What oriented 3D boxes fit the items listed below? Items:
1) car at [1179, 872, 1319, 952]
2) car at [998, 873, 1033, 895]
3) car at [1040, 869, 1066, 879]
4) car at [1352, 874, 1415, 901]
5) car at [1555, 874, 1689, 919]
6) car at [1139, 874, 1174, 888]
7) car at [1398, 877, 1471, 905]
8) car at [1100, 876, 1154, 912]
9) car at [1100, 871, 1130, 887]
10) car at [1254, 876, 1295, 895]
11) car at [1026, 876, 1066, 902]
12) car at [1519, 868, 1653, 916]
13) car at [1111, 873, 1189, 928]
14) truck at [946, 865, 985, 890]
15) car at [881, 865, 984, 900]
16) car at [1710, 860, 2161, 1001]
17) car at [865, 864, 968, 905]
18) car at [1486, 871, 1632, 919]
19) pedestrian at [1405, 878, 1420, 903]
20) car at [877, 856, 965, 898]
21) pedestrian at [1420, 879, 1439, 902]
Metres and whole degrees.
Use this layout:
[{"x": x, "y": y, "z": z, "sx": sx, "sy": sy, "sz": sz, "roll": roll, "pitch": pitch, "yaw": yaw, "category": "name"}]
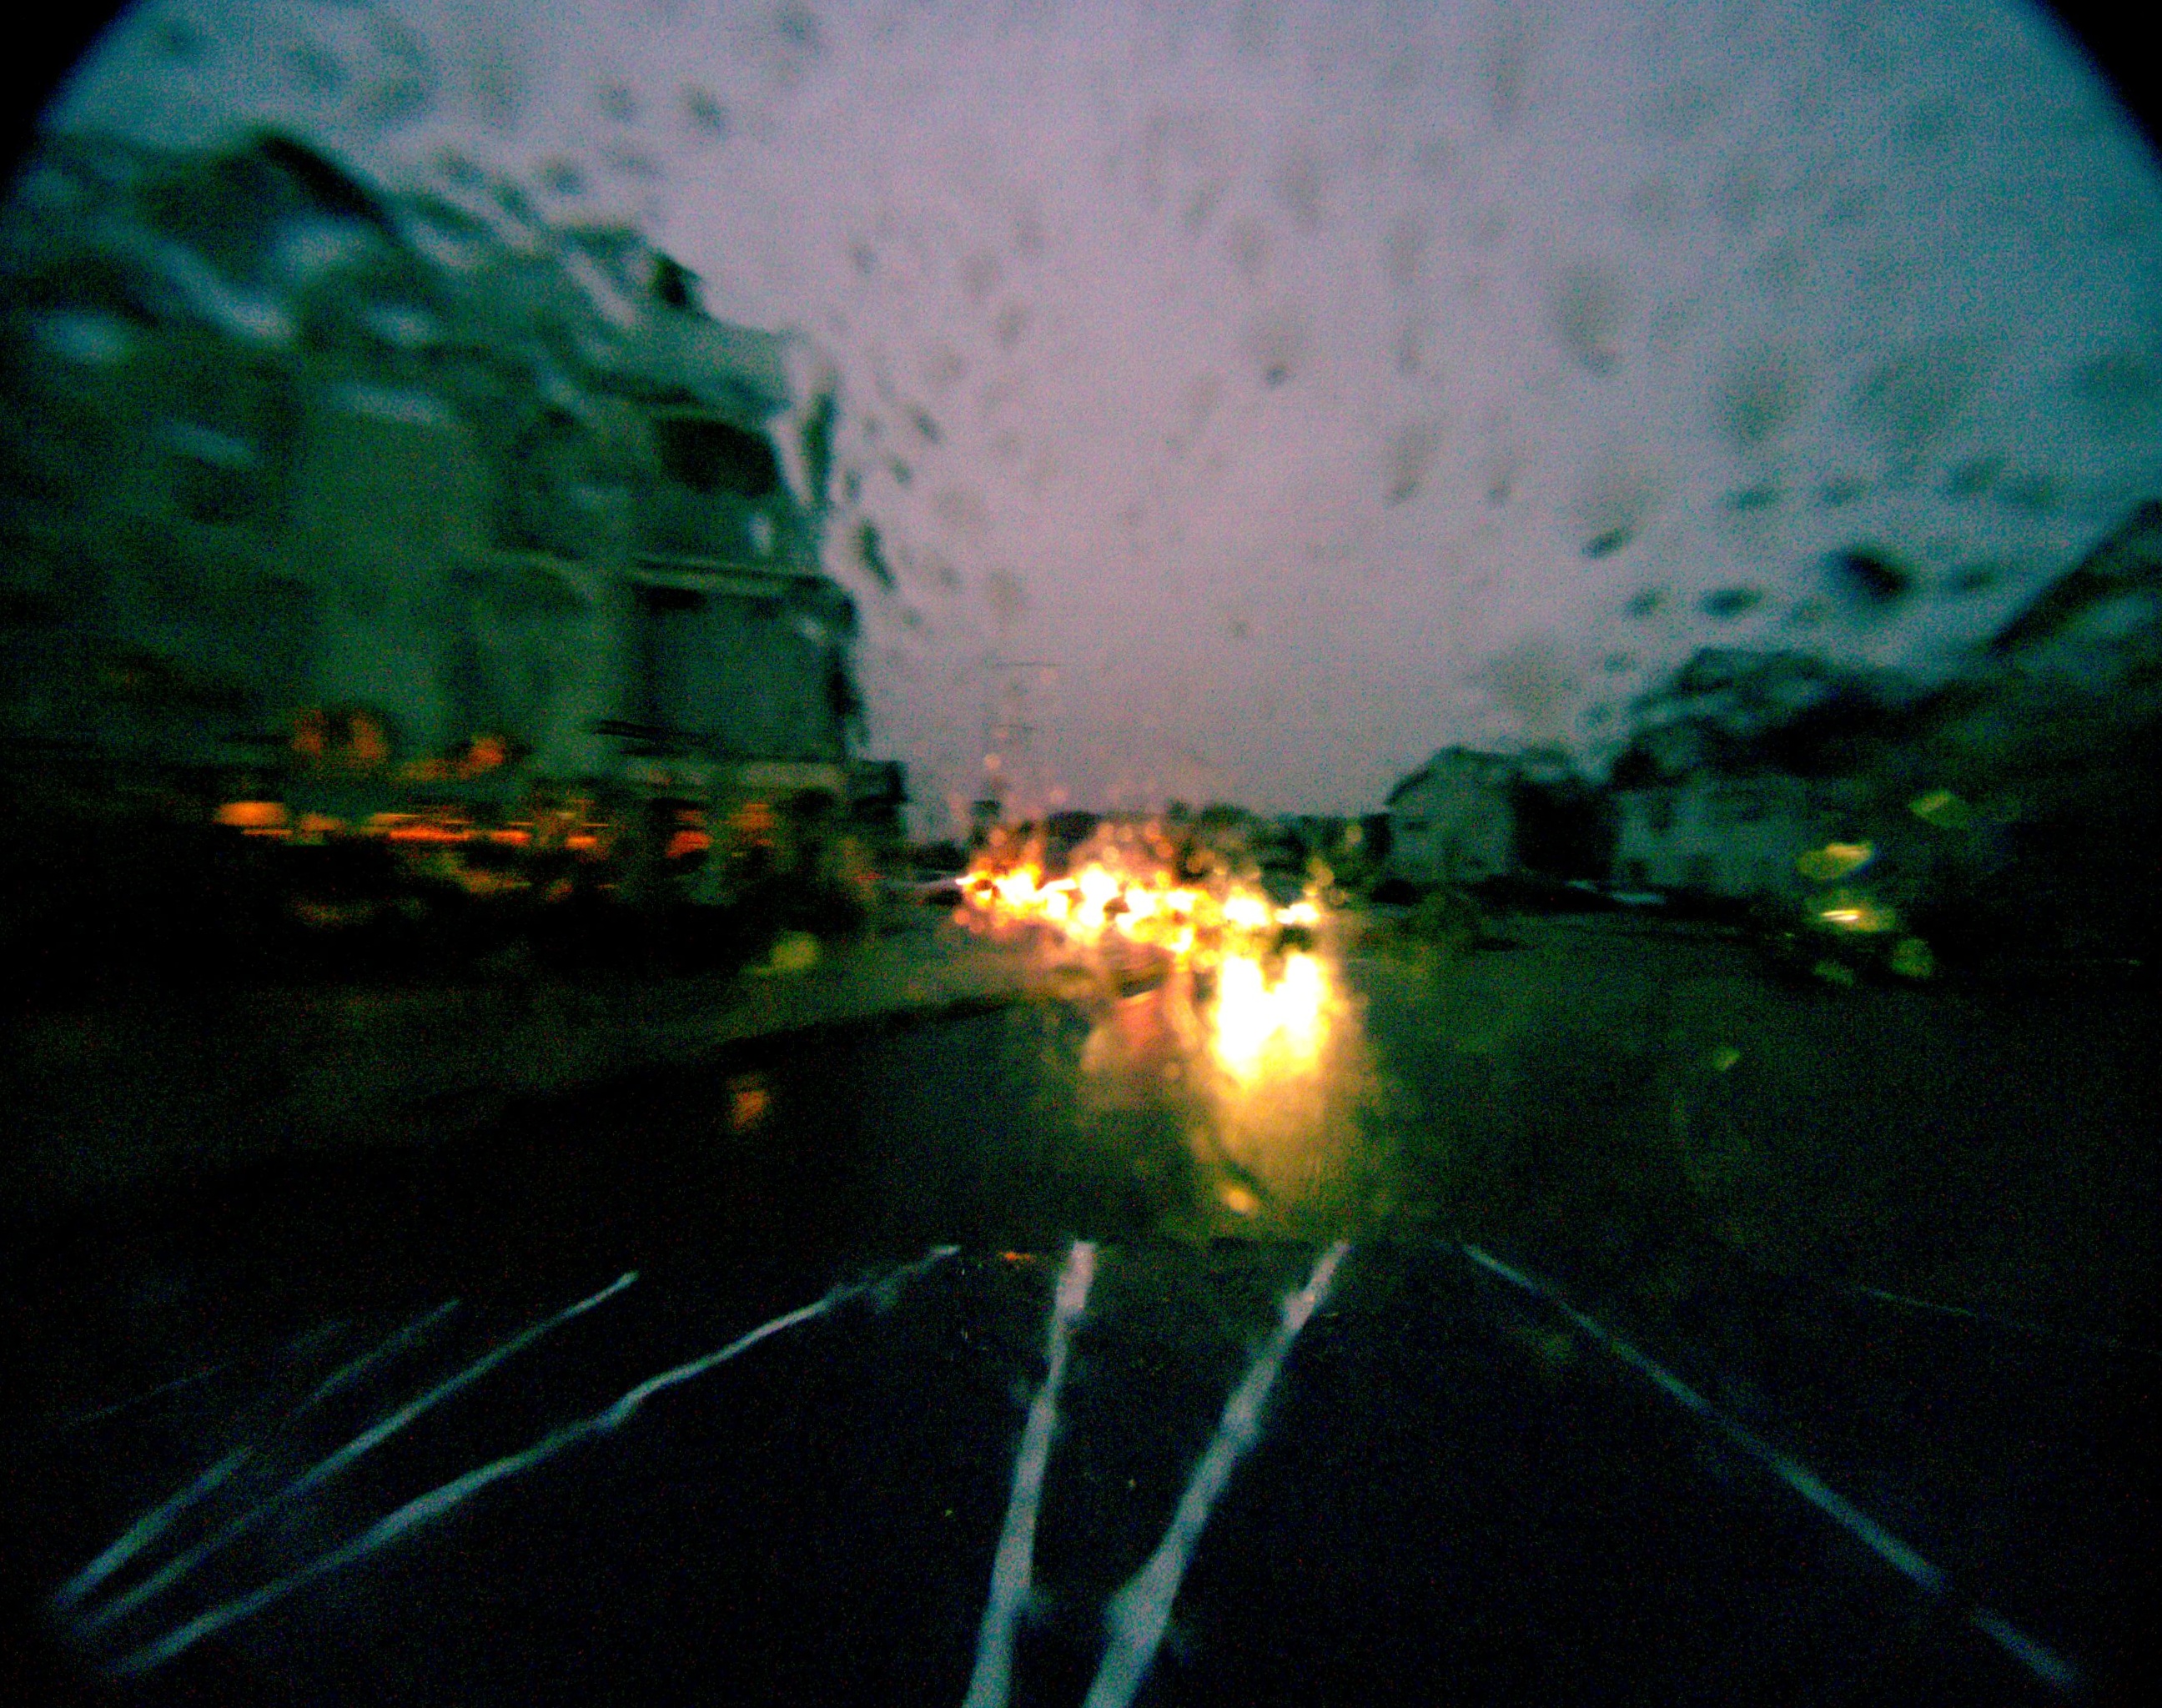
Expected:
[{"x": 3.689, "y": 1.224, "z": 17.451, "sx": 1.889, "sy": 1.569, "sz": 3.998, "roll": -1, "pitch": -1, "yaw": -7, "category": "car"}, {"x": -4.863, "y": 2.219, "z": 56.140, "sx": 1.836, "sy": 1.535, "sz": 3.710, "roll": -1, "pitch": -1, "yaw": -17, "category": "car"}, {"x": -4.002, "y": 2.817, "z": 107.161, "sx": 1.803, "sy": 1.460, "sz": 4.606, "roll": 1, "pitch": -1, "yaw": -29, "category": "car"}, {"x": 20.206, "y": 2.226, "z": 50.941, "sx": 1.706, "sy": 1.650, "sz": 3.953, "roll": 0, "pitch": -1, "yaw": -21, "category": "car"}, {"x": 21.188, "y": 1.630, "z": 29.859, "sx": 1.769, "sy": 1.621, "sz": 3.989, "roll": 4, "pitch": -3, "yaw": -42, "category": "car"}, {"x": 8.153, "y": 2.890, "z": 82.066, "sx": 1.803, "sy": 1.460, "sz": 4.249, "roll": 1, "pitch": -1, "yaw": -25, "category": "car"}, {"x": 21.619, "y": 2.233, "z": 46.619, "sx": 1.781, "sy": 1.560, "sz": 4.088, "roll": 0, "pitch": -1, "yaw": -18, "category": "car"}, {"x": 2.019, "y": 1.762, "z": 34.194, "sx": 1.573, "sy": 1.460, "sz": 3.614, "roll": -1, "pitch": -1, "yaw": -10, "category": "car"}, {"x": 4.053, "y": 2.988, "z": 91.618, "sx": 1.803, "sy": 1.816, "sz": 4.249, "roll": 1, "pitch": -1, "yaw": -25, "category": "car"}, {"x": 16.085, "y": 2.568, "z": 63.233, "sx": 1.480, "sy": 1.499, "sz": 3.497, "roll": 1, "pitch": -1, "yaw": -22, "category": "car"}, {"x": -2.151, "y": 2.102, "z": 46.125, "sx": 1.743, "sy": 1.434, "sz": 3.996, "roll": -1, "pitch": -1, "yaw": -13, "category": "car"}, {"x": 18.809, "y": 1.400, "z": 28.367, "sx": 3.886, "sy": 1.659, "sz": 1.845, "roll": -1, "pitch": -3, "yaw": 44, "category": "car"}, {"x": 2.260, "y": 1.499, "z": 25.810, "sx": 1.683, "sy": 1.614, "sz": 3.997, "roll": 0, "pitch": 0, "yaw": -9, "category": "car"}, {"x": -10.962, "y": 2.159, "z": 71.814, "sx": 2.251, "sy": 2.217, "sz": 6.093, "roll": 0, "pitch": -1, "yaw": -22, "category": "truck"}, {"x": -7.000, "y": 1.361, "z": 35.658, "sx": 4.527, "sy": 1.483, "sz": 1.972, "roll": 3, "pitch": -3, "yaw": -17, "category": "car"}, {"x": 11.401, "y": 0.921, "z": 9.831, "sx": 4.624, "sy": 1.583, "sz": 1.956, "roll": -1, "pitch": -1, "yaw": 12, "category": "car"}, {"x": -7.015, "y": 1.302, "z": 32.397, "sx": 4.005, "sy": 1.494, "sz": 1.810, "roll": 3, "pitch": -1, "yaw": -22, "category": "car"}, {"x": 16.855, "y": 1.384, "z": 26.885, "sx": 4.168, "sy": 1.522, "sz": 1.918, "roll": 0, "pitch": -1, "yaw": 40, "category": "car"}, {"x": 17.512, "y": 1.915, "z": 40.172, "sx": 0.601, "sy": 1.294, "sz": 0.512, "roll": -1, "pitch": -1, "yaw": 41, "category": "pedestrian"}, {"x": -8.951, "y": 1.302, "z": 42.351, "sx": 4.558, "sy": 1.922, "sz": 1.972, "roll": 5, "pitch": -3, "yaw": -15, "category": "car"}, {"x": 18.835, "y": 1.962, "z": 41.030, "sx": 0.693, "sy": 1.242, "sz": 0.602, "roll": 0, "pitch": -1, "yaw": -16, "category": "pedestrian"}]
